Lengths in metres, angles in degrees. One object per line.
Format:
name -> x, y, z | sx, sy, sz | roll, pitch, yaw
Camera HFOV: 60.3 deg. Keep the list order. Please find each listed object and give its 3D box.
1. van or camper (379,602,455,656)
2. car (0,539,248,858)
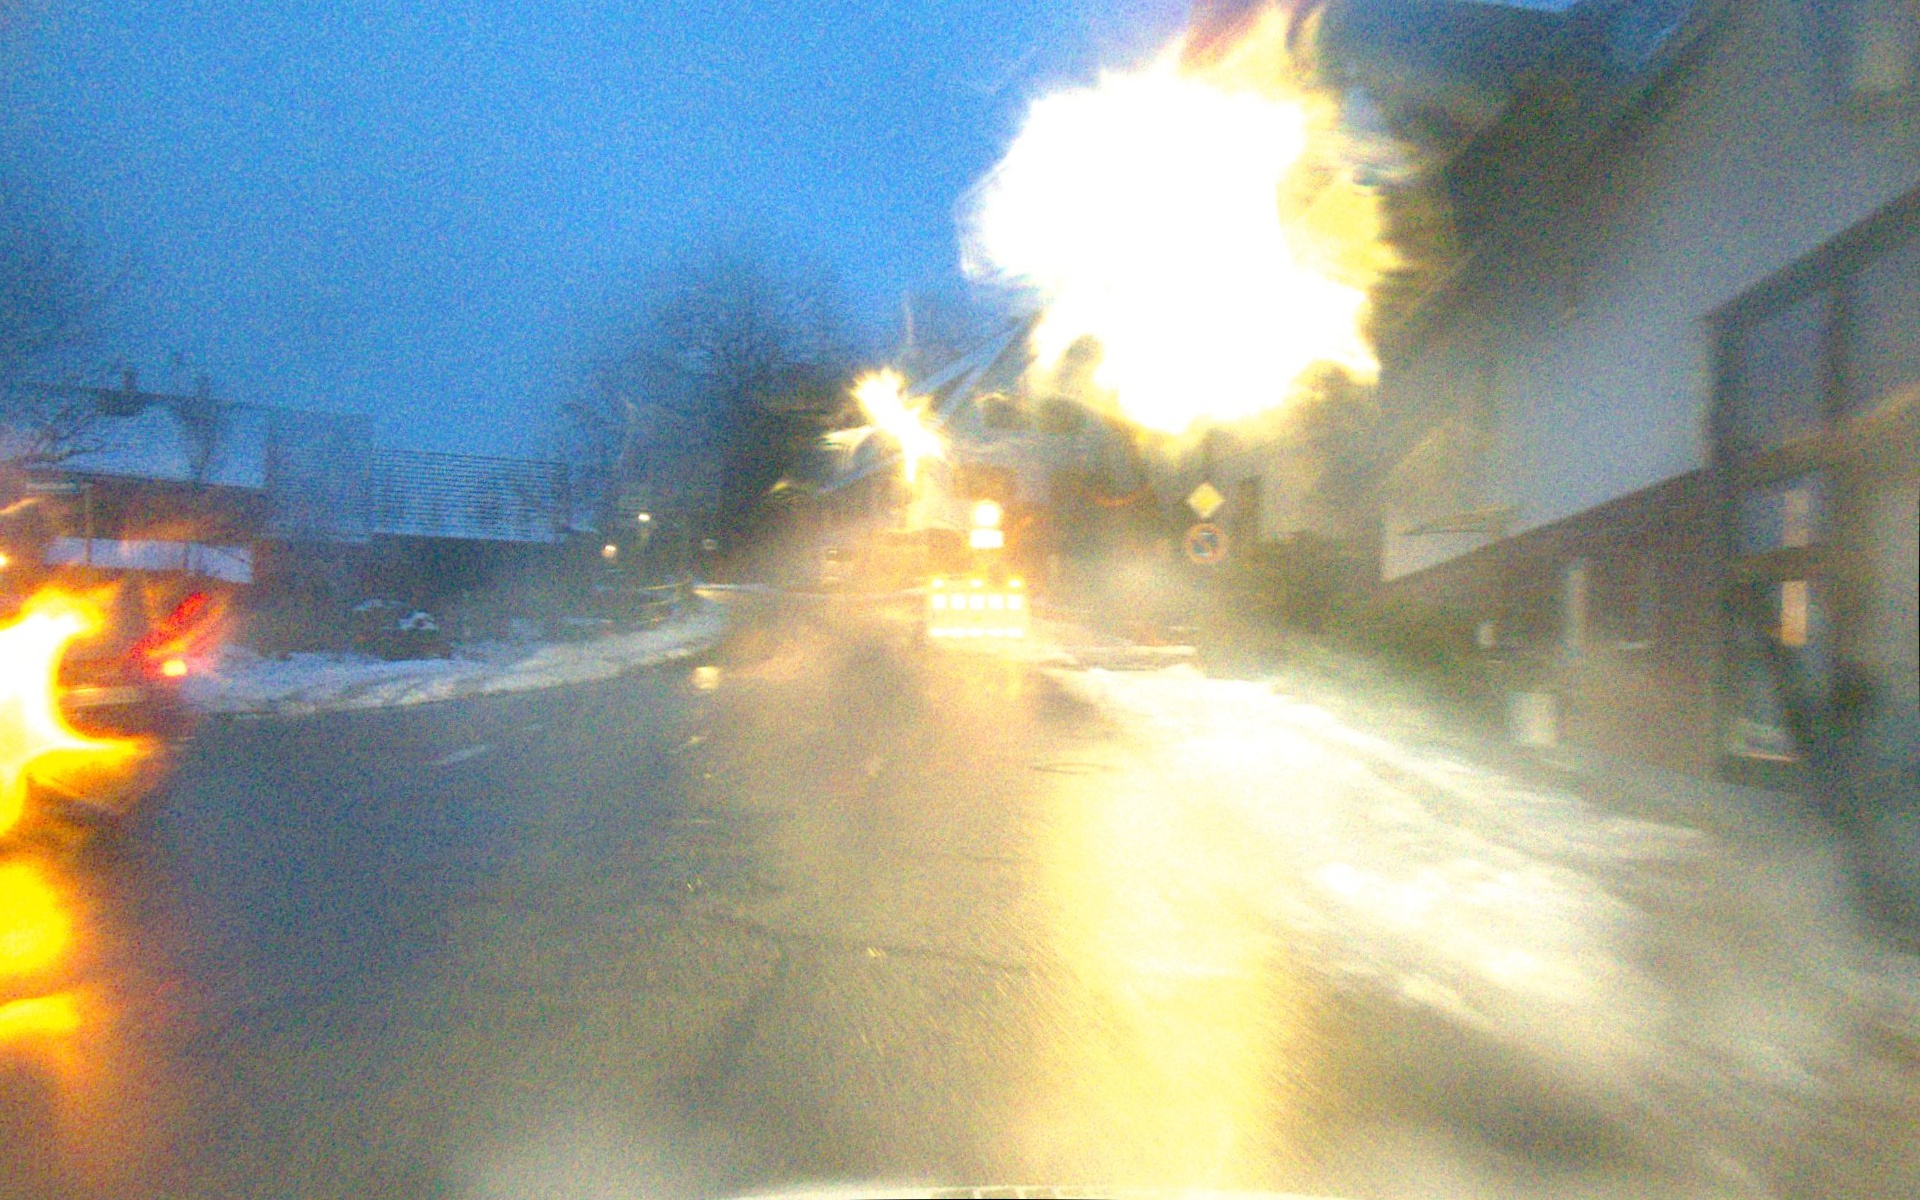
van or camper -> -12.376, 0.686, 37.633 | 1.266, 1.121, 3.247 | 3, -3, -24
car -> -6.777, 0.597, 10.939 | 3.492, 1.828, 1.829 | -1, -1, 20
